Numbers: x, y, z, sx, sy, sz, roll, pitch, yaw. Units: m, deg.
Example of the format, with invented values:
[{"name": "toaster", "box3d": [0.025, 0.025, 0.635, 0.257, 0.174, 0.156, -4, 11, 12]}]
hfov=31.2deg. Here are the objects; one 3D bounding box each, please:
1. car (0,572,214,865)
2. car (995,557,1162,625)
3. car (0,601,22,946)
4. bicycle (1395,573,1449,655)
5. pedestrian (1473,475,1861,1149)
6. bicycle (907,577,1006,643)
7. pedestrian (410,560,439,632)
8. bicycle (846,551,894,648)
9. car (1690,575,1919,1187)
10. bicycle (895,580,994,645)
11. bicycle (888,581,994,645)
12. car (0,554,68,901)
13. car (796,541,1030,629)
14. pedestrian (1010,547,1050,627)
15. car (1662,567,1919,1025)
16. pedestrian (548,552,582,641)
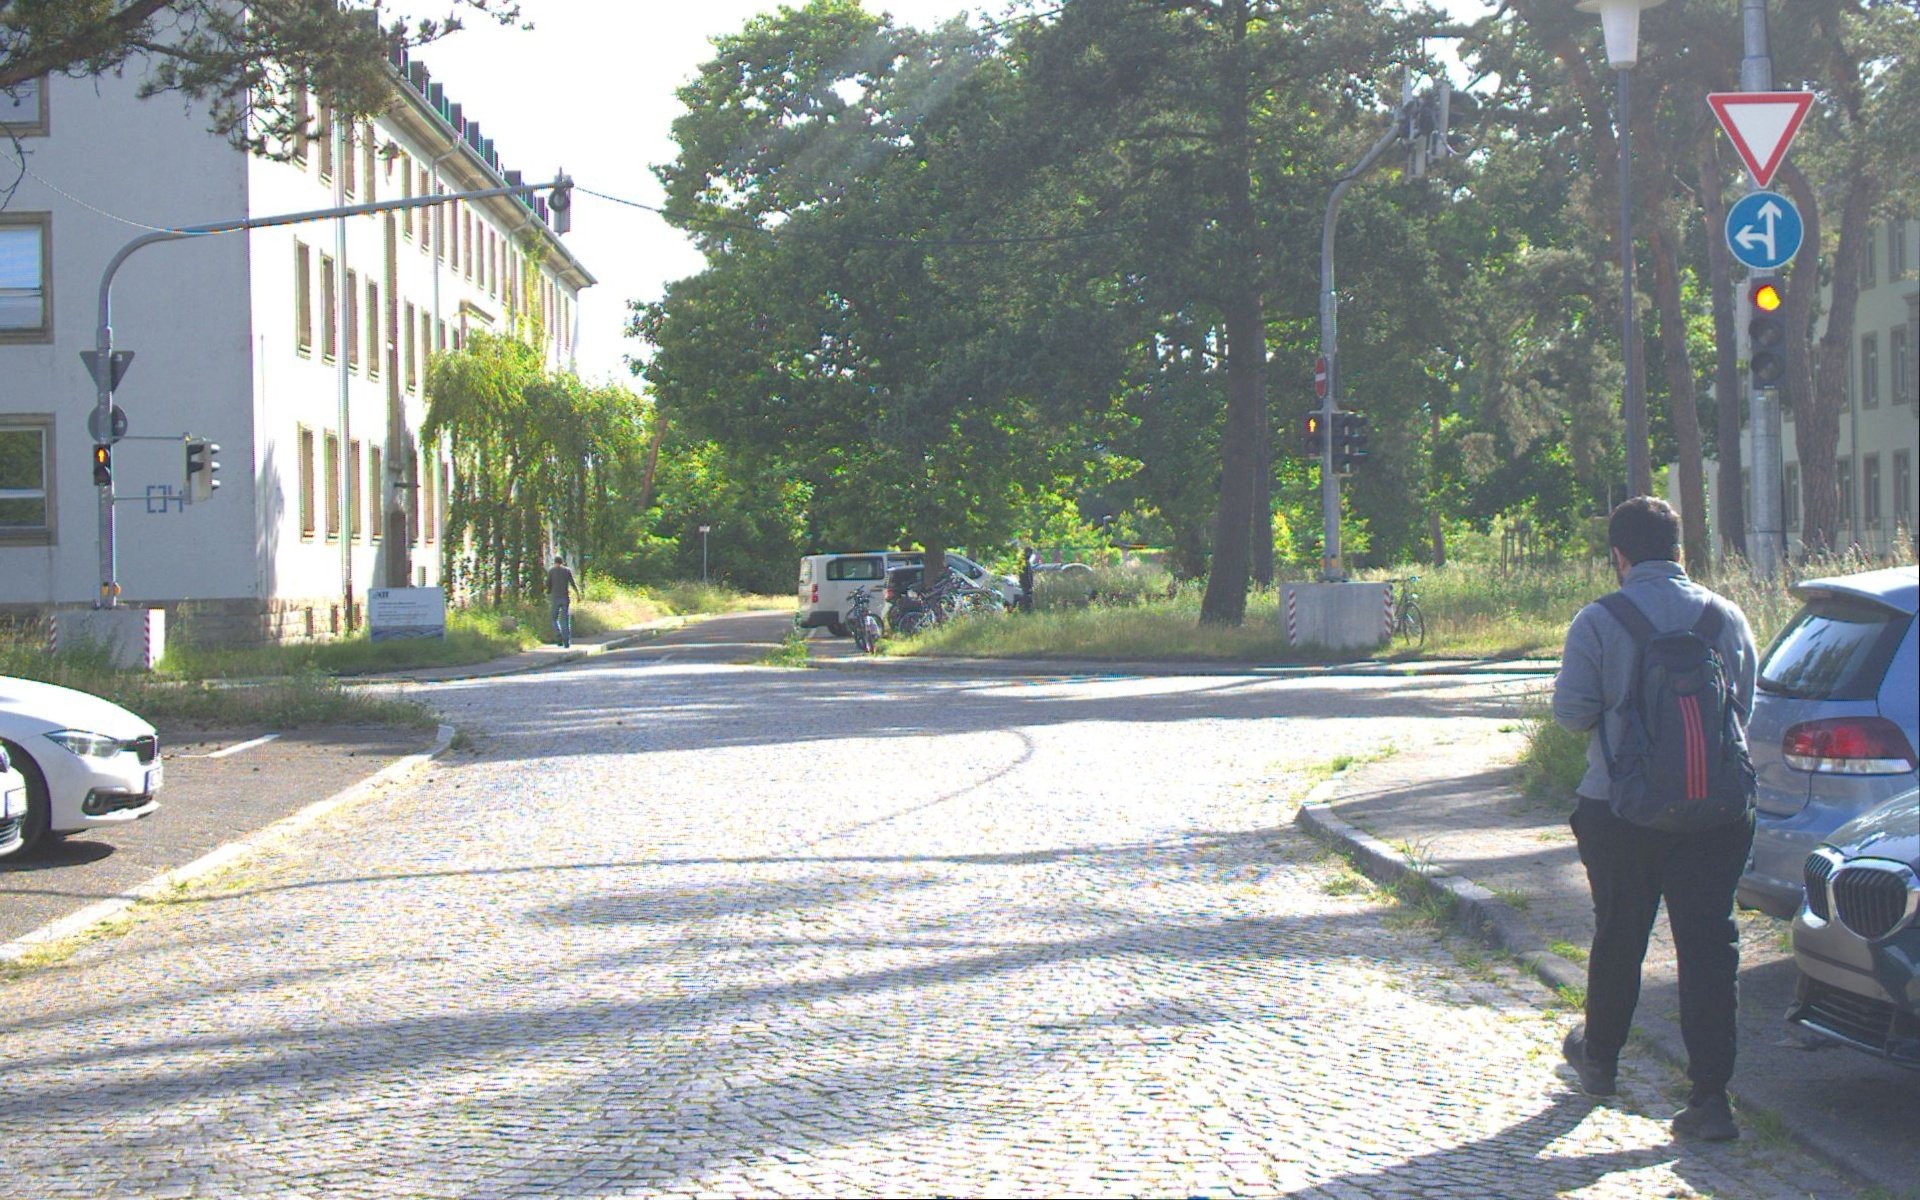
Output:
[{"name": "car", "box3d": [-6.343, 0.578, 18.994, 3.987, 1.491, 1.772, 2, 1, 3]}, {"name": "car", "box3d": [2.834, -0.228, 82.717, 3.743, 1.574, 1.742, -1, 1, -8]}, {"name": "car", "box3d": [-5.921, 0.656, 13.599, 3.937, 1.440, 1.691, 2, 1, -2]}, {"name": "bicycle", "box3d": [6.598, 0.183, 49.056, 0.722, 1.111, 2.583, -1, 1, 8]}, {"name": "pedestrian", "box3d": [1.914, 0.551, 9.413, 0.753, 1.719, 0.828, 4, 0, -2]}, {"name": "bicycle", "box3d": [-0.065, 0.174, 62.065, 1.727, 1.160, 0.561, -1, 0, -5]}, {"name": "pedestrian", "box3d": [-11.624, -0.084, 74.611, 0.606, 1.554, 0.545, -1, 1, -8]}, {"name": "bicycle", "box3d": [-1.511, -0.027, 57.521, 0.753, 1.575, 2.537, -1, 1, -2]}, {"name": "car", "box3d": [4.558, 0.576, 9.393, 4.619, 1.450, 1.870, -3, 1, -3]}, {"name": "bicycle", "box3d": [-0.282, 0.220, 61.380, 1.727, 1.108, 0.484, -1, 0, -5]}, {"name": "bicycle", "box3d": [-0.335, 0.226, 60.834, 1.834, 1.108, 0.495, -1, 0, -5]}, {"name": "car", "box3d": [-6.401, 0.542, 16.360, 3.879, 1.610, 1.661, 1, 1, -2]}, {"name": "car", "box3d": [-1.088, -0.353, 78.721, 5.065, 1.911, 2.001, -1, 1, -11]}, {"name": "pedestrian", "box3d": [1.563, -0.298, 77.156, 0.759, 1.777, 0.684, -1, 0, -9]}, {"name": "car", "box3d": [4.488, 0.567, 11.964, 3.673, 1.438, 1.665, -2, 1, -1]}, {"name": "pedestrian", "box3d": [-7.880, -0.073, 68.537, 0.606, 1.746, 0.630, -1, 1, -10]}]
